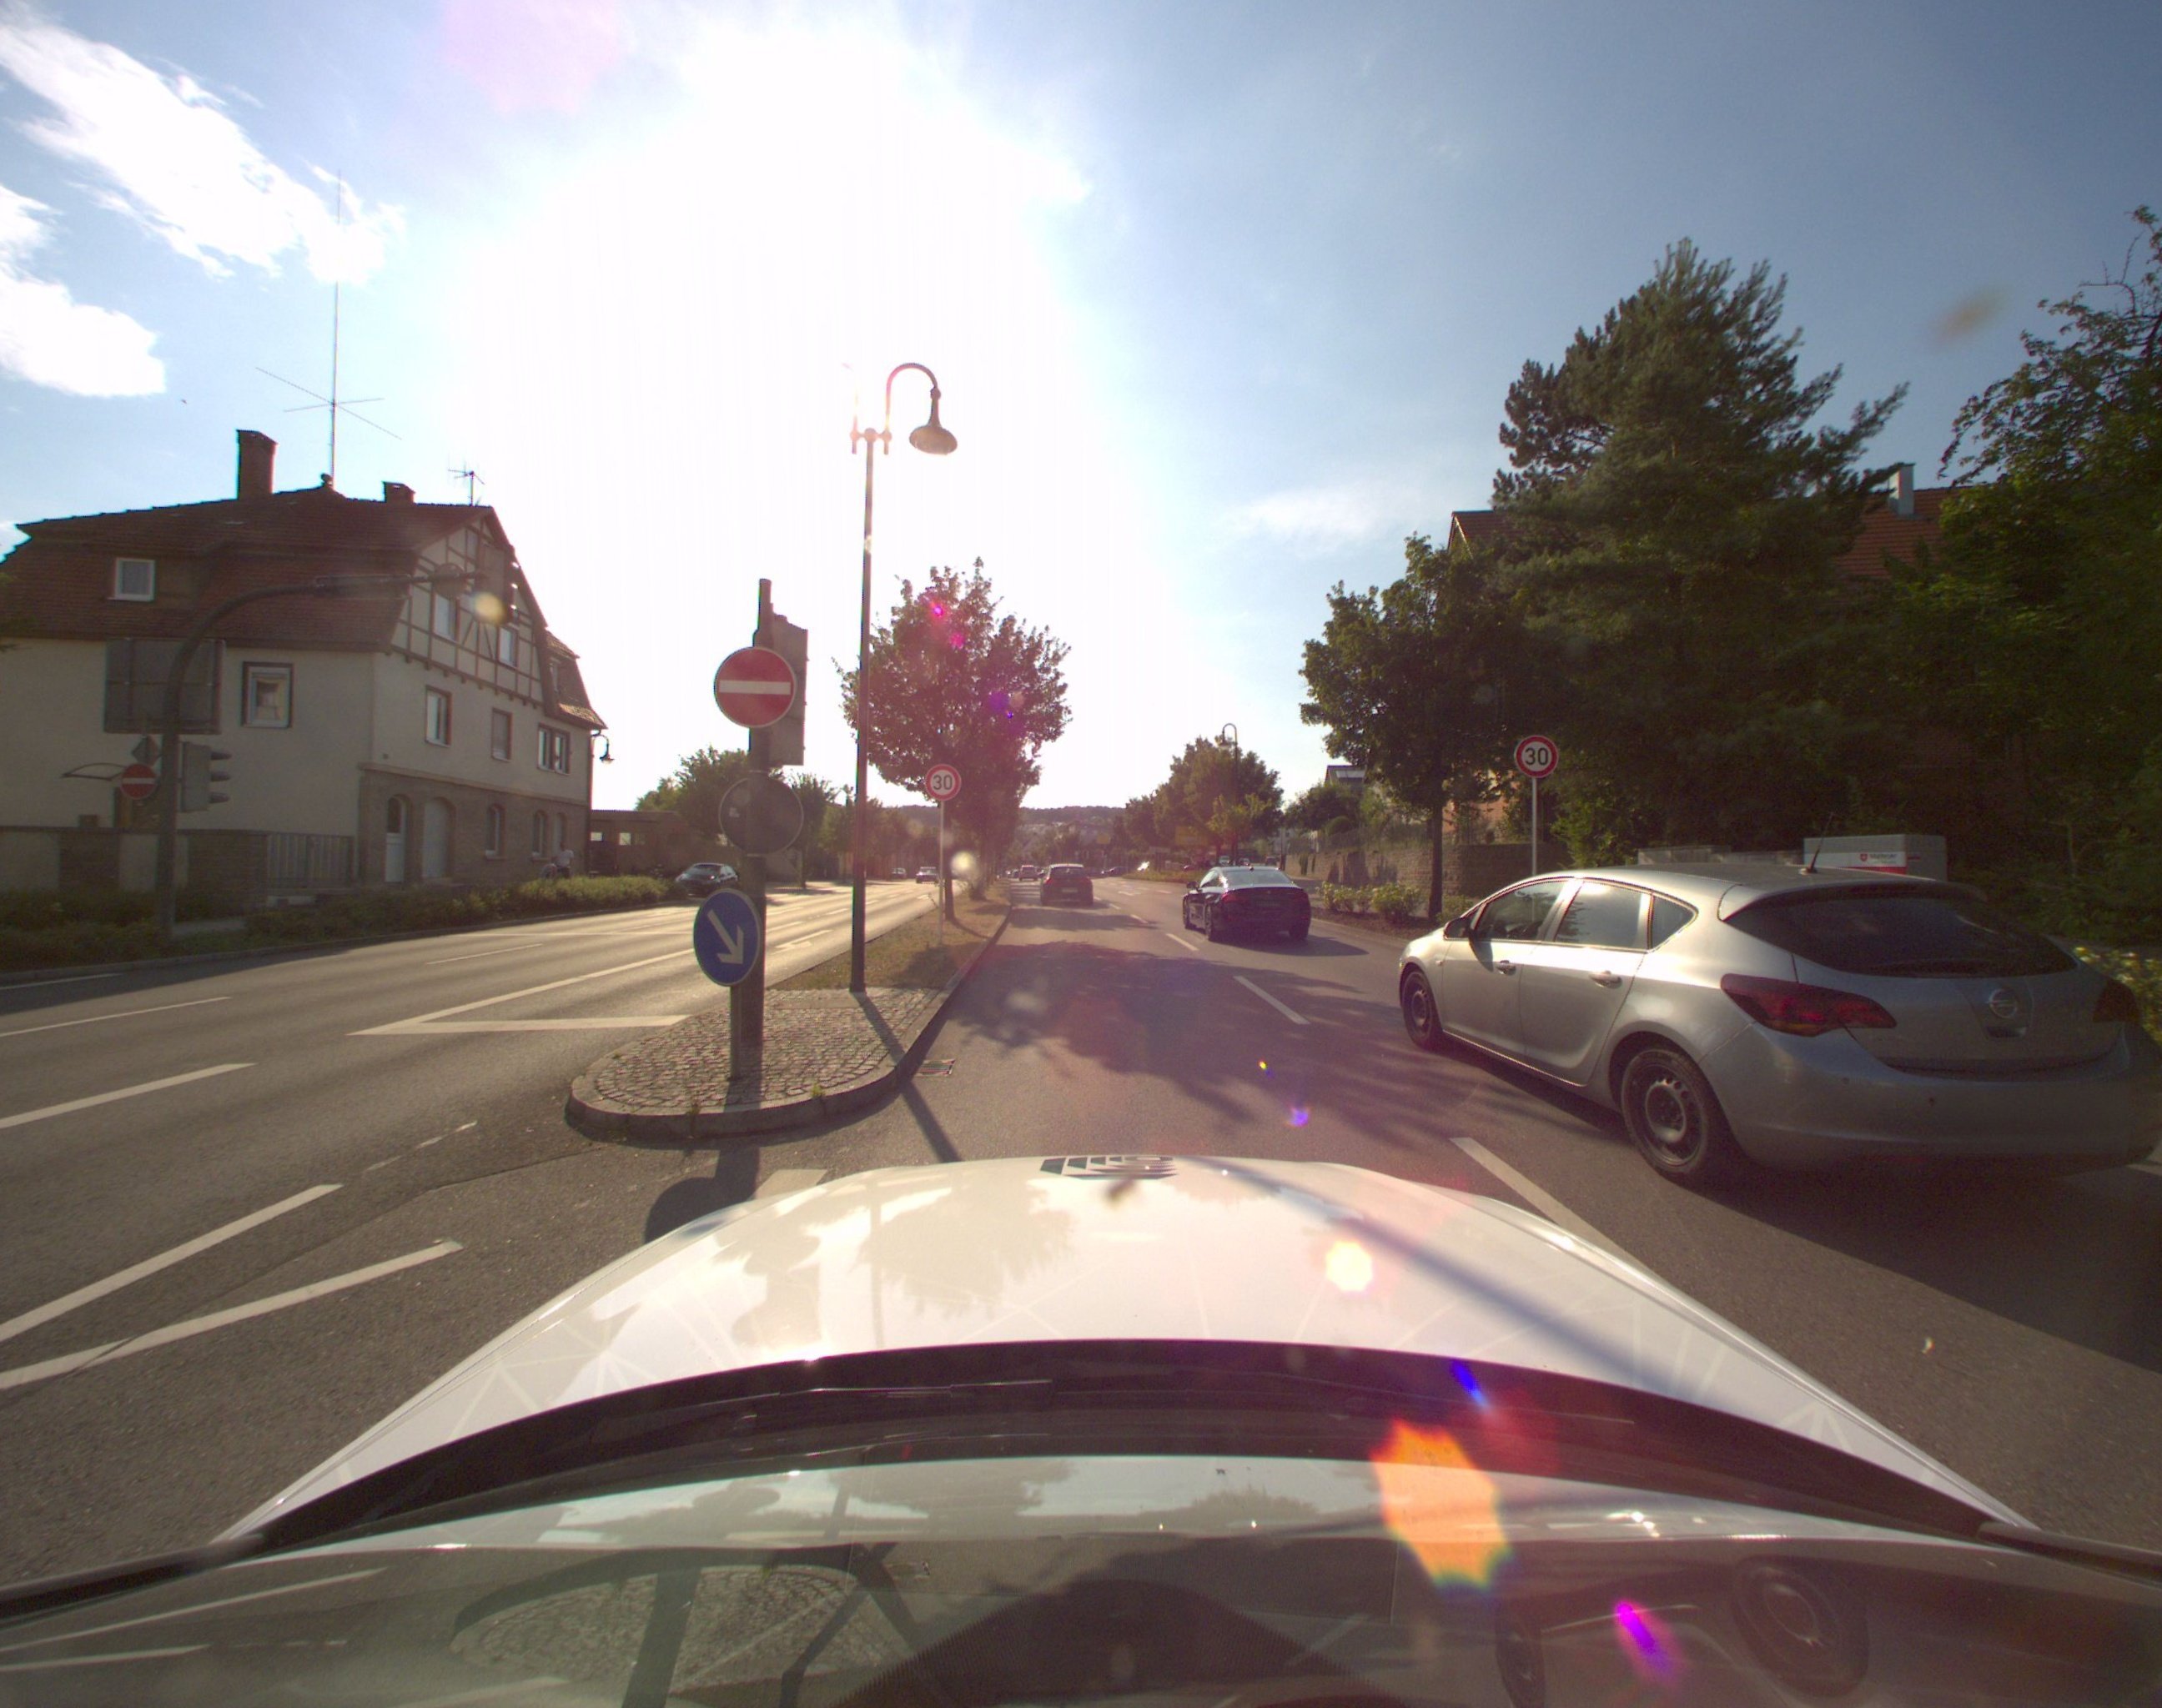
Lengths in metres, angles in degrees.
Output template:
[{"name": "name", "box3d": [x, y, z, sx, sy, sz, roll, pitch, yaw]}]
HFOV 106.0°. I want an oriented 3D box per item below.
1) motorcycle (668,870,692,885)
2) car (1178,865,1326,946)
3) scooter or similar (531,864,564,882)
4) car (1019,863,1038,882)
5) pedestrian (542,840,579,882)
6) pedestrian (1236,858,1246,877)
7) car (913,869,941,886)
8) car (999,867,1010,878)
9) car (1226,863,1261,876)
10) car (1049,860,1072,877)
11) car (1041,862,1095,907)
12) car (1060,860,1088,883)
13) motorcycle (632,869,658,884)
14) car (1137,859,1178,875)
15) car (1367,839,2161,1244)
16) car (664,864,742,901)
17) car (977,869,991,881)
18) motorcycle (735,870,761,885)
[{"name": "motorcycle", "box3d": [-29.828, 1.722, 60.569, 0.511, 1.069, 1.647, -1, -1, 27]}, {"name": "car", "box3d": [3.202, 0.924, 16.167, 1.915, 1.364, 4.349, -1, -1, -2]}, {"name": "scooter or similar", "box3d": [-17.200, 0.605, 26.269, 0.443, 0.582, 1.041, 0, -1, -6]}, {"name": "car", "box3d": [-5.280, 1.836, 81.279, 1.753, 1.769, 3.963, -1, -1, -5]}, {"name": "pedestrian", "box3d": [-17.352, 0.228, 27.146, 0.811, 1.394, 0.705, 0, -1, -6]}, {"name": "pedestrian", "box3d": [14.690, 1.254, 74.815, 0.693, 1.703, 0.950, -1, -1, 3]}, {"name": "car", "box3d": [-12.839, 1.934, 68.072, 1.753, 1.361, 4.477, -1, -1, -5]}, {"name": "car", "box3d": [-14.847, 3.568, 158.365, 1.767, 2.014, 3.998, 0, -1, -1]}, {"name": "car", "box3d": [24.260, 2.311, 121.589, 4.628, 1.829, 1.994, 0, -1, -8]}, {"name": "car", "box3d": [-2.250, 1.506, 87.311, 2.213, 1.769, 4.445, -1, -1, -5]}, {"name": "car", "box3d": [-0.397, 1.046, 29.556, 1.714, 1.490, 4.355, 0, -1, 2]}, {"name": "car", "box3d": [-0.620, 1.427, 66.875, 1.922, 1.769, 4.445, -1, -1, -5]}, {"name": "motorcycle", "box3d": [-32.269, 1.659, 60.281, 0.511, 1.107, 1.647, -1, -1, 27]}, {"name": "car", "box3d": [10.433, 1.775, 110.860, 5.114, 2.130, 2.136, 0, -1, -14]}, {"name": "car", "box3d": [3.461, 0.703, 5.219, 1.716, 1.490, 4.305, -1, 0, 0]}, {"name": "car", "box3d": [-16.839, 1.223, 36.479, 1.753, 1.454, 4.125, 4, -1, -5]}, {"name": "car", "box3d": [-14.485, 3.110, 121.595, 1.726, 1.679, 3.994, -1, -1, -4]}, {"name": "motorcycle", "box3d": [-24.906, 1.767, 60.875, 0.510, 1.069, 1.881, -1, -1, 31]}]
